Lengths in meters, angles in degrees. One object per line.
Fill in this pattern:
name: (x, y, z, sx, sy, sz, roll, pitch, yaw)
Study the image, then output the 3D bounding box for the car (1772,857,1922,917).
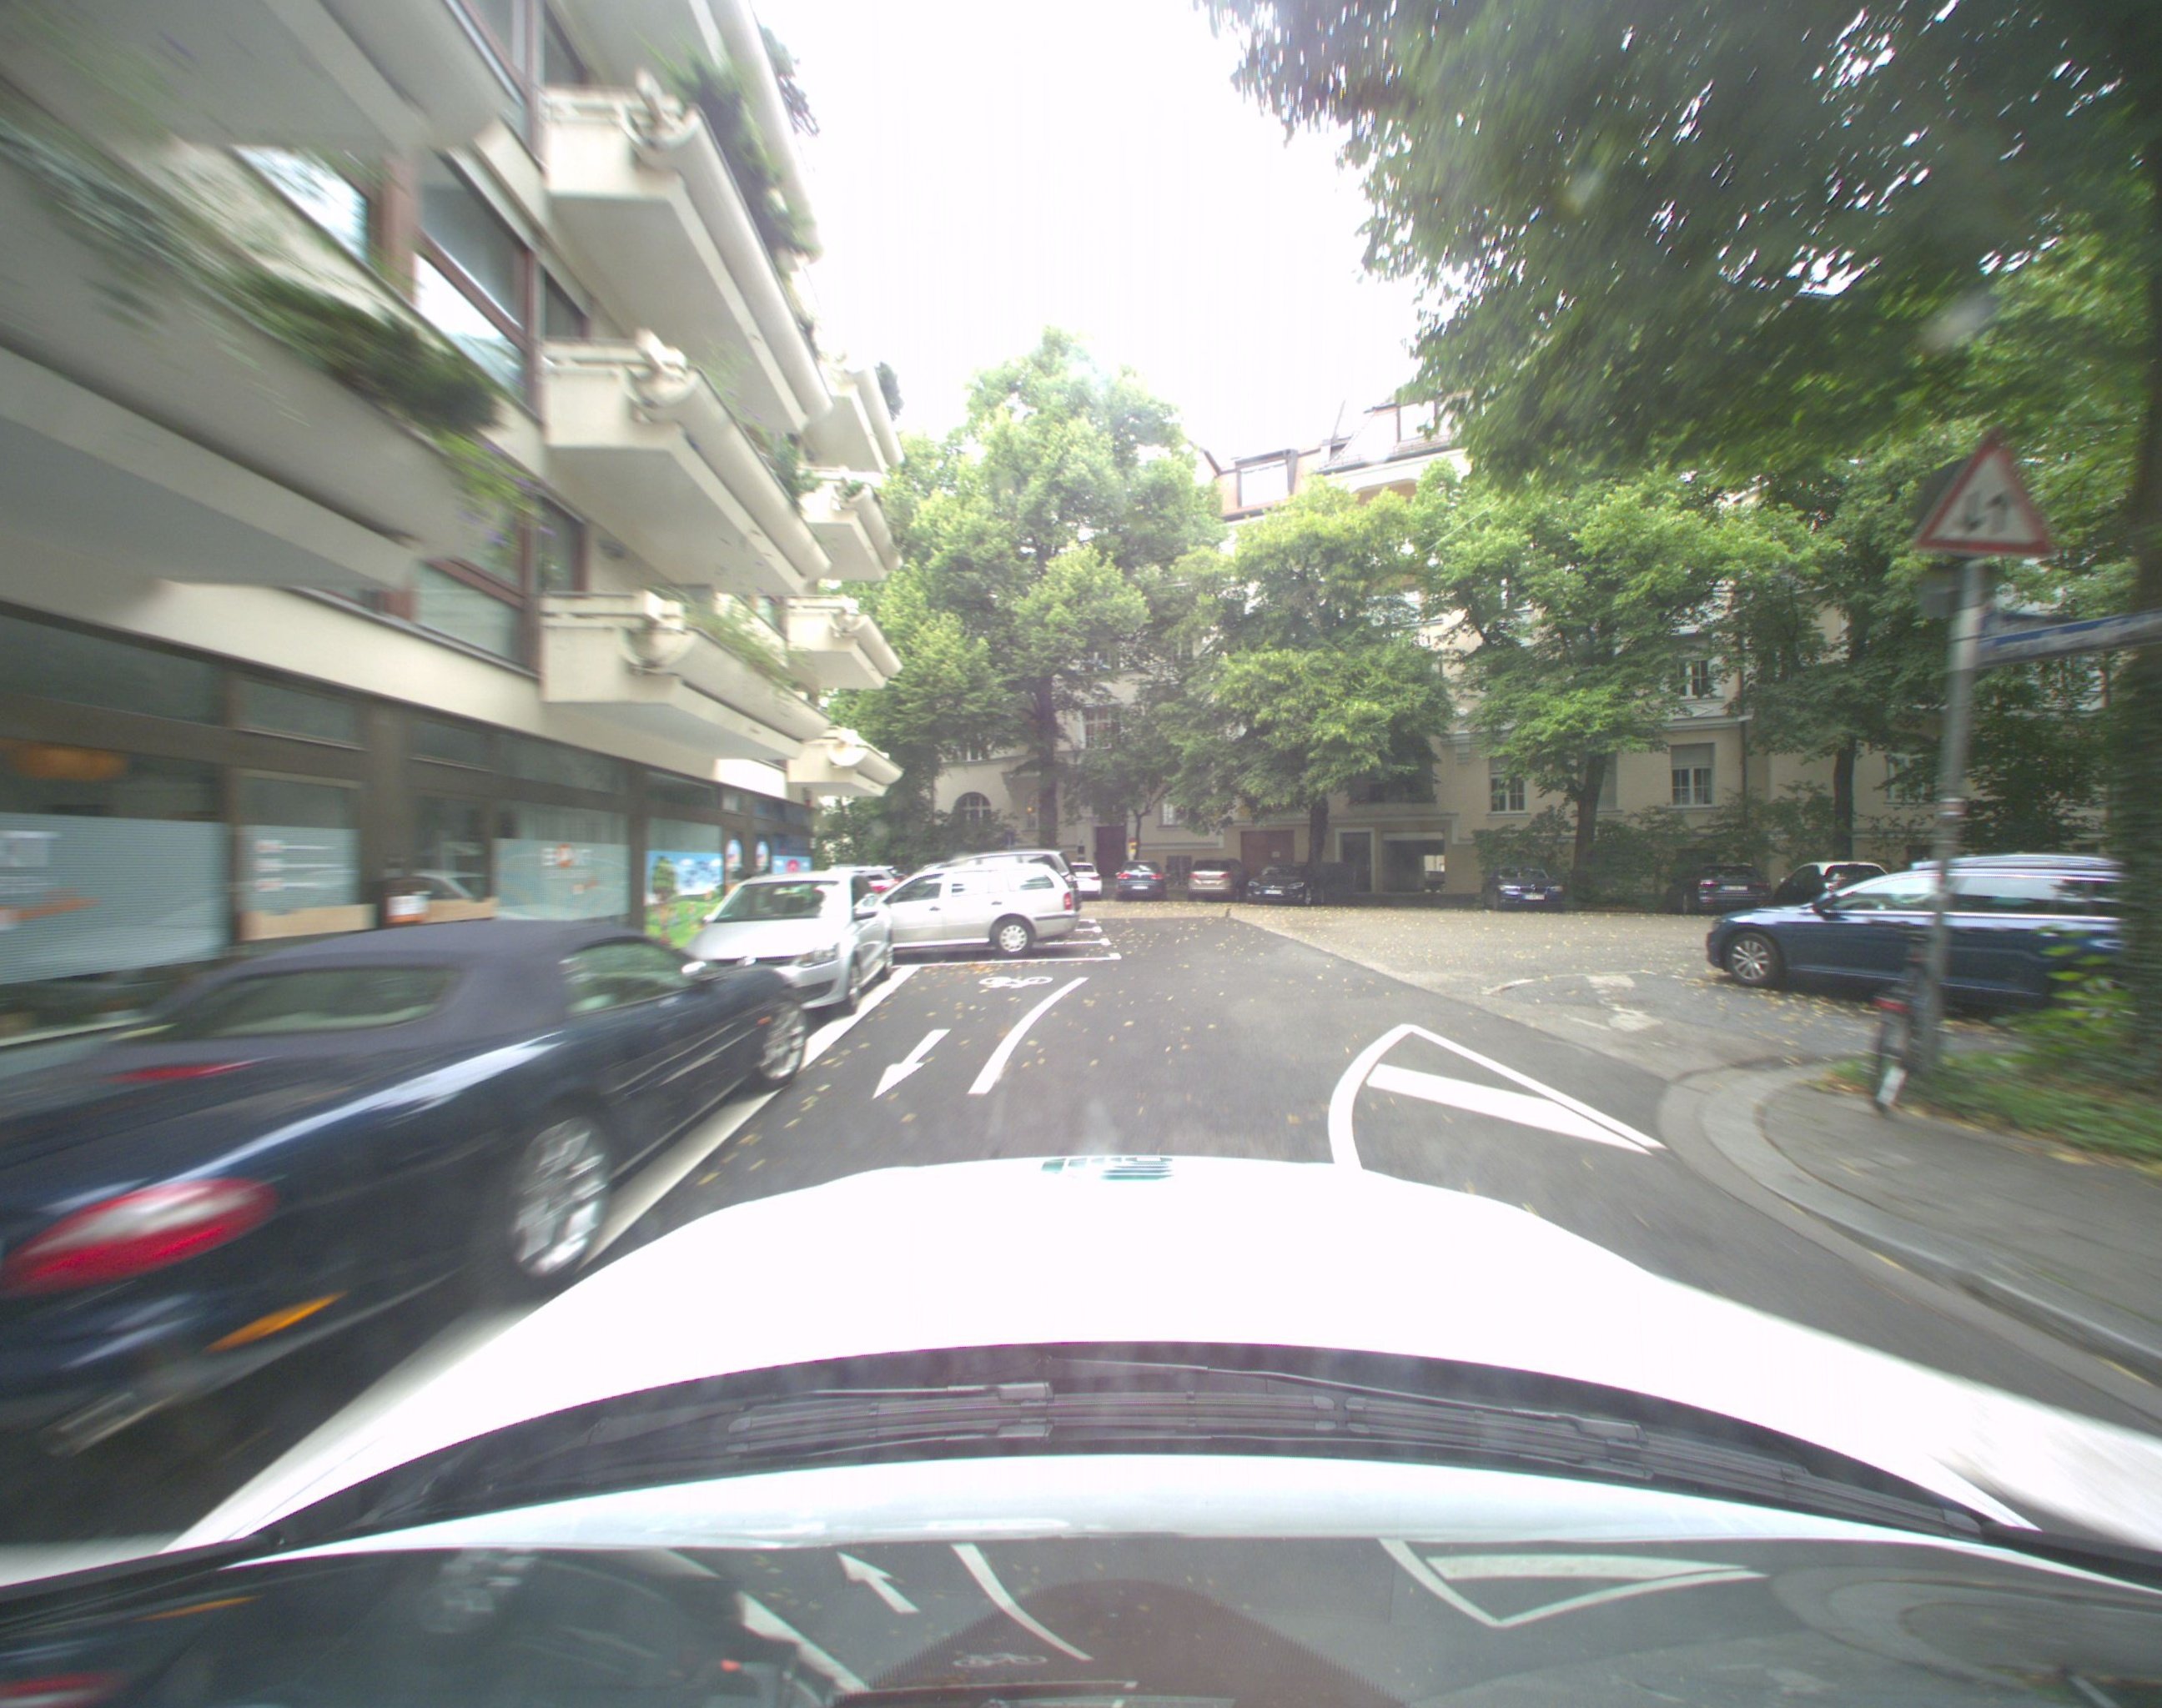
car: (19.964, 0.926, 21.431, 1.810, 1.426, 3.770, -1, -5, 26)

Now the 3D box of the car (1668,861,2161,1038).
car: (8.937, 0.761, 8.290, 1.955, 1.377, 4.712, 0, -1, -13)

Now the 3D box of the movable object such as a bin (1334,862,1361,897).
movable object such as a bin: (10.253, 0.959, 31.273, 0.855, 1.305, 1.440, 2, 0, 22)

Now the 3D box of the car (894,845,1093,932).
car: (-1.938, 0.737, 18.509, 4.214, 1.684, 1.899, -3, 0, -6)

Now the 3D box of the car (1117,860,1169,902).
car: (2.237, 0.922, 29.748, 1.783, 1.431, 4.004, 0, 0, 3)

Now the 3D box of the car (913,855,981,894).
car: (-5.260, 0.755, 31.601, 2.062, 1.401, 3.976, 0, 0, -18)

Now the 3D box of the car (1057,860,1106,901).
car: (-0.004, 0.952, 30.643, 1.713, 1.431, 3.998, 0, 0, -1)

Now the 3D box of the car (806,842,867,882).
car: (-10.276, 0.341, 34.526, 1.697, 1.601, 3.992, 0, 0, -6)

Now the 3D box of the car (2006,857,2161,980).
car: (13.730, 0.754, 9.210, 1.822, 1.447, 3.931, 0, -1, -13)

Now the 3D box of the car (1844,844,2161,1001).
car: (11.409, 0.688, 9.106, 1.750, 1.555, 3.972, 0, -1, -9)

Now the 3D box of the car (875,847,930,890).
car: (-7.126, 0.557, 32.837, 1.697, 1.601, 3.992, 0, 0, -6)

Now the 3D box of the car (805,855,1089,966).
car: (-2.064, 0.852, 13.241, 4.220, 1.455, 1.718, -3, 0, -5)

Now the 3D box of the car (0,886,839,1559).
car: (-2.683, 0.915, 4.062, 1.793, 1.278, 4.610, -2, 0, -4)

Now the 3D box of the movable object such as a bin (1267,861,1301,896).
movable object such as a bin: (8.088, 0.960, 32.421, 1.140, 1.348, 1.163, 0, 0, 22)

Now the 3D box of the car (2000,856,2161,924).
car: (23.697, 0.830, 19.084, 1.623, 1.433, 3.574, 0, -2, 27)

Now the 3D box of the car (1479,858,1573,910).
car: (13.095, 0.869, 24.194, 1.823, 1.383, 4.364, -1, -2, 20)

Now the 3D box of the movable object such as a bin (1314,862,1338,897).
movable object such as a bin: (9.606, 0.985, 31.919, 0.706, 1.348, 1.381, 0, -1, 24)

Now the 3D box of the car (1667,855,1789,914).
car: (17.407, 0.857, 22.141, 1.840, 1.426, 4.187, -1, -3, 28)

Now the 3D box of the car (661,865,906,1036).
car: (-3.061, 0.884, 9.188, 1.558, 1.421, 3.827, -2, 0, -4)

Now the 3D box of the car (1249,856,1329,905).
car: (7.007, 0.900, 27.133, 1.688, 1.467, 4.313, 1, -2, 26)

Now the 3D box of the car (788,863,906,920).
car: (-7.086, 1.082, 24.654, 3.302, 1.631, 1.498, 0, -1, -23)

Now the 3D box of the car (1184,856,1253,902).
car: (5.030, 0.846, 29.337, 1.824, 1.530, 4.044, 0, -1, 19)

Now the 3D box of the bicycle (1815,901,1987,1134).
bicycle: (5.098, 0.898, 5.029, 1.781, 1.137, 0.548, 0, -1, -39)

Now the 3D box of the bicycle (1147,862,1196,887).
bicycle: (4.227, 0.948, 38.012, 2.208, 1.115, 0.580, 0, -1, 25)

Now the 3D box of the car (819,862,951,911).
car: (-5.507, 0.858, 22.810, 3.461, 1.284, 1.520, 0, 0, -21)
